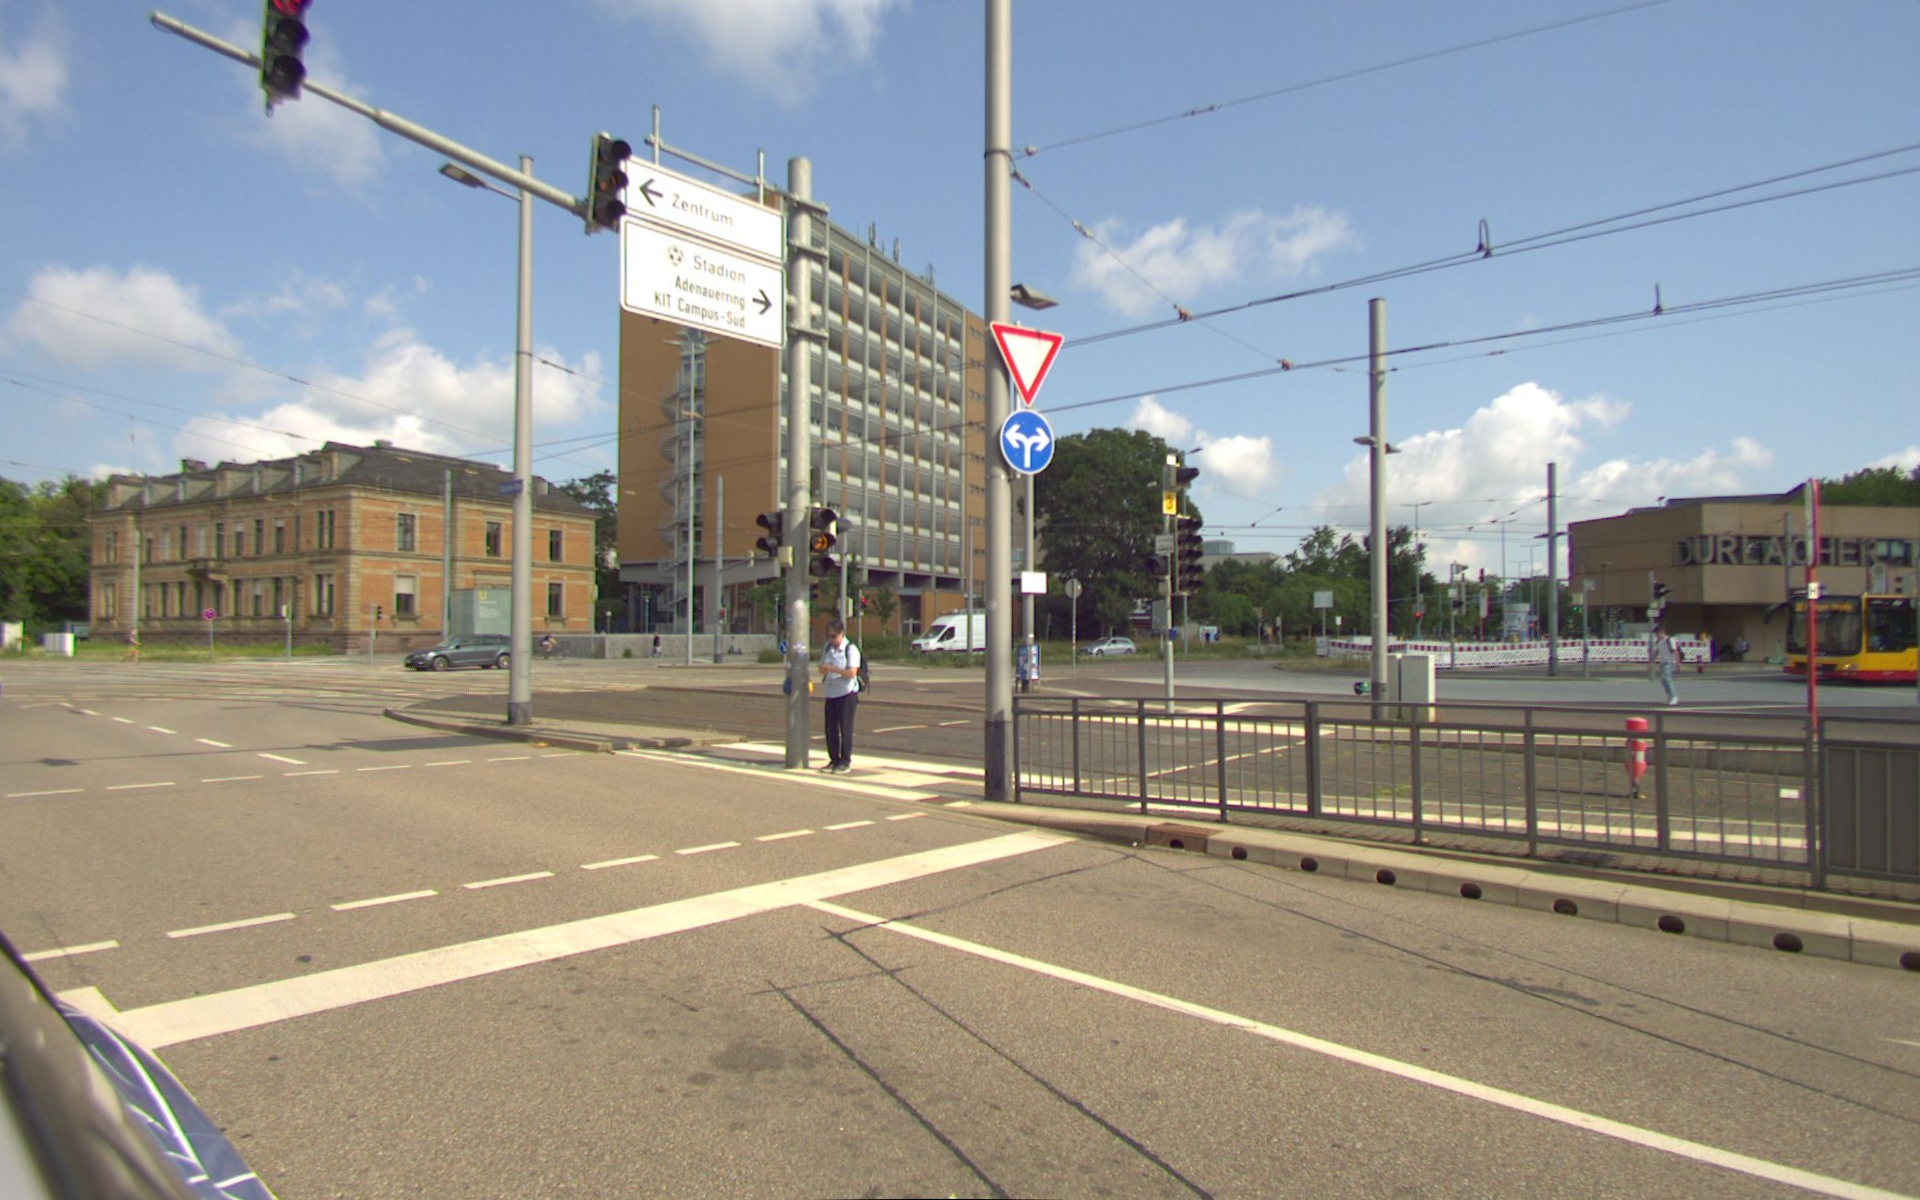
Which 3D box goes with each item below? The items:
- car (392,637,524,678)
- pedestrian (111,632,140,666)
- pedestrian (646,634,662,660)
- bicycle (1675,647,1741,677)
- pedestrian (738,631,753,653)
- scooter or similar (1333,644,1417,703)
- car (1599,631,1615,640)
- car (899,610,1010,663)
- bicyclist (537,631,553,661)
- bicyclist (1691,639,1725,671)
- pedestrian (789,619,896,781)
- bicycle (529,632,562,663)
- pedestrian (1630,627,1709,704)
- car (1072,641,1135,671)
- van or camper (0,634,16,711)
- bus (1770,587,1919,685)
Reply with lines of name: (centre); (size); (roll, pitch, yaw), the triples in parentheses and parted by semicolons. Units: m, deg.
car: (-20.606, 2.318, 41.640); (2.001, 1.290, 4.479); (4, 3, 44)
pedestrian: (-43.482, 2.546, 52.733); (0.853, 1.750, 0.778); (-1, -2, 21)
pedestrian: (-18.869, 2.908, 62.475); (0.752, 1.600, 0.775); (2, -2, -30)
bicycle: (29.701, 2.471, 40.203); (2.037, 1.000, 0.814); (4, 2, -7)
pedestrian: (-15.468, 3.042, 73.046); (0.925, 1.600, 0.765); (0, -2, -3)
scooter or similar: (10.151, 1.772, 24.732); (1.495, 1.198, 1.320); (4, 3, 43)
car: (110.020, 6.006, 172.105); (1.997, 1.581, 4.722); (-1, -3, 37)
car: (-0.275, 2.073, 58.093); (6.048, 2.901, 2.492); (2, -3, -37)
bicyclist: (-23.808, 2.651, 58.112); (0.647, 1.683, 0.573); (0, -2, 3)
bicyclist: (29.721, 2.171, 40.205); (0.727, 1.161, 0.698); (4, 2, -7)
pedestrian: (-1.291, 1.066, 11.182); (0.794, 1.686, 0.834); (-1, -3, 39)
bicycle: (-23.786, 2.708, 58.103); (1.615, 1.791, 0.731); (0, -2, 2)
pedestrian: (16.227, 1.477, 23.164); (1.080, 1.702, 0.931); (-1, -1, -8)
car: (10.066, 3.885, 70.912); (4.073, 1.785, 2.005); (0, 3, -38)
van or camper: (-18.857, 1.358, 18.142); (1.600, 1.487, 4.013); (1, -2, -25)
bus: (29.211, 1.099, 30.895); (6.991, 2.855, 2.703); (0, -2, -5)
